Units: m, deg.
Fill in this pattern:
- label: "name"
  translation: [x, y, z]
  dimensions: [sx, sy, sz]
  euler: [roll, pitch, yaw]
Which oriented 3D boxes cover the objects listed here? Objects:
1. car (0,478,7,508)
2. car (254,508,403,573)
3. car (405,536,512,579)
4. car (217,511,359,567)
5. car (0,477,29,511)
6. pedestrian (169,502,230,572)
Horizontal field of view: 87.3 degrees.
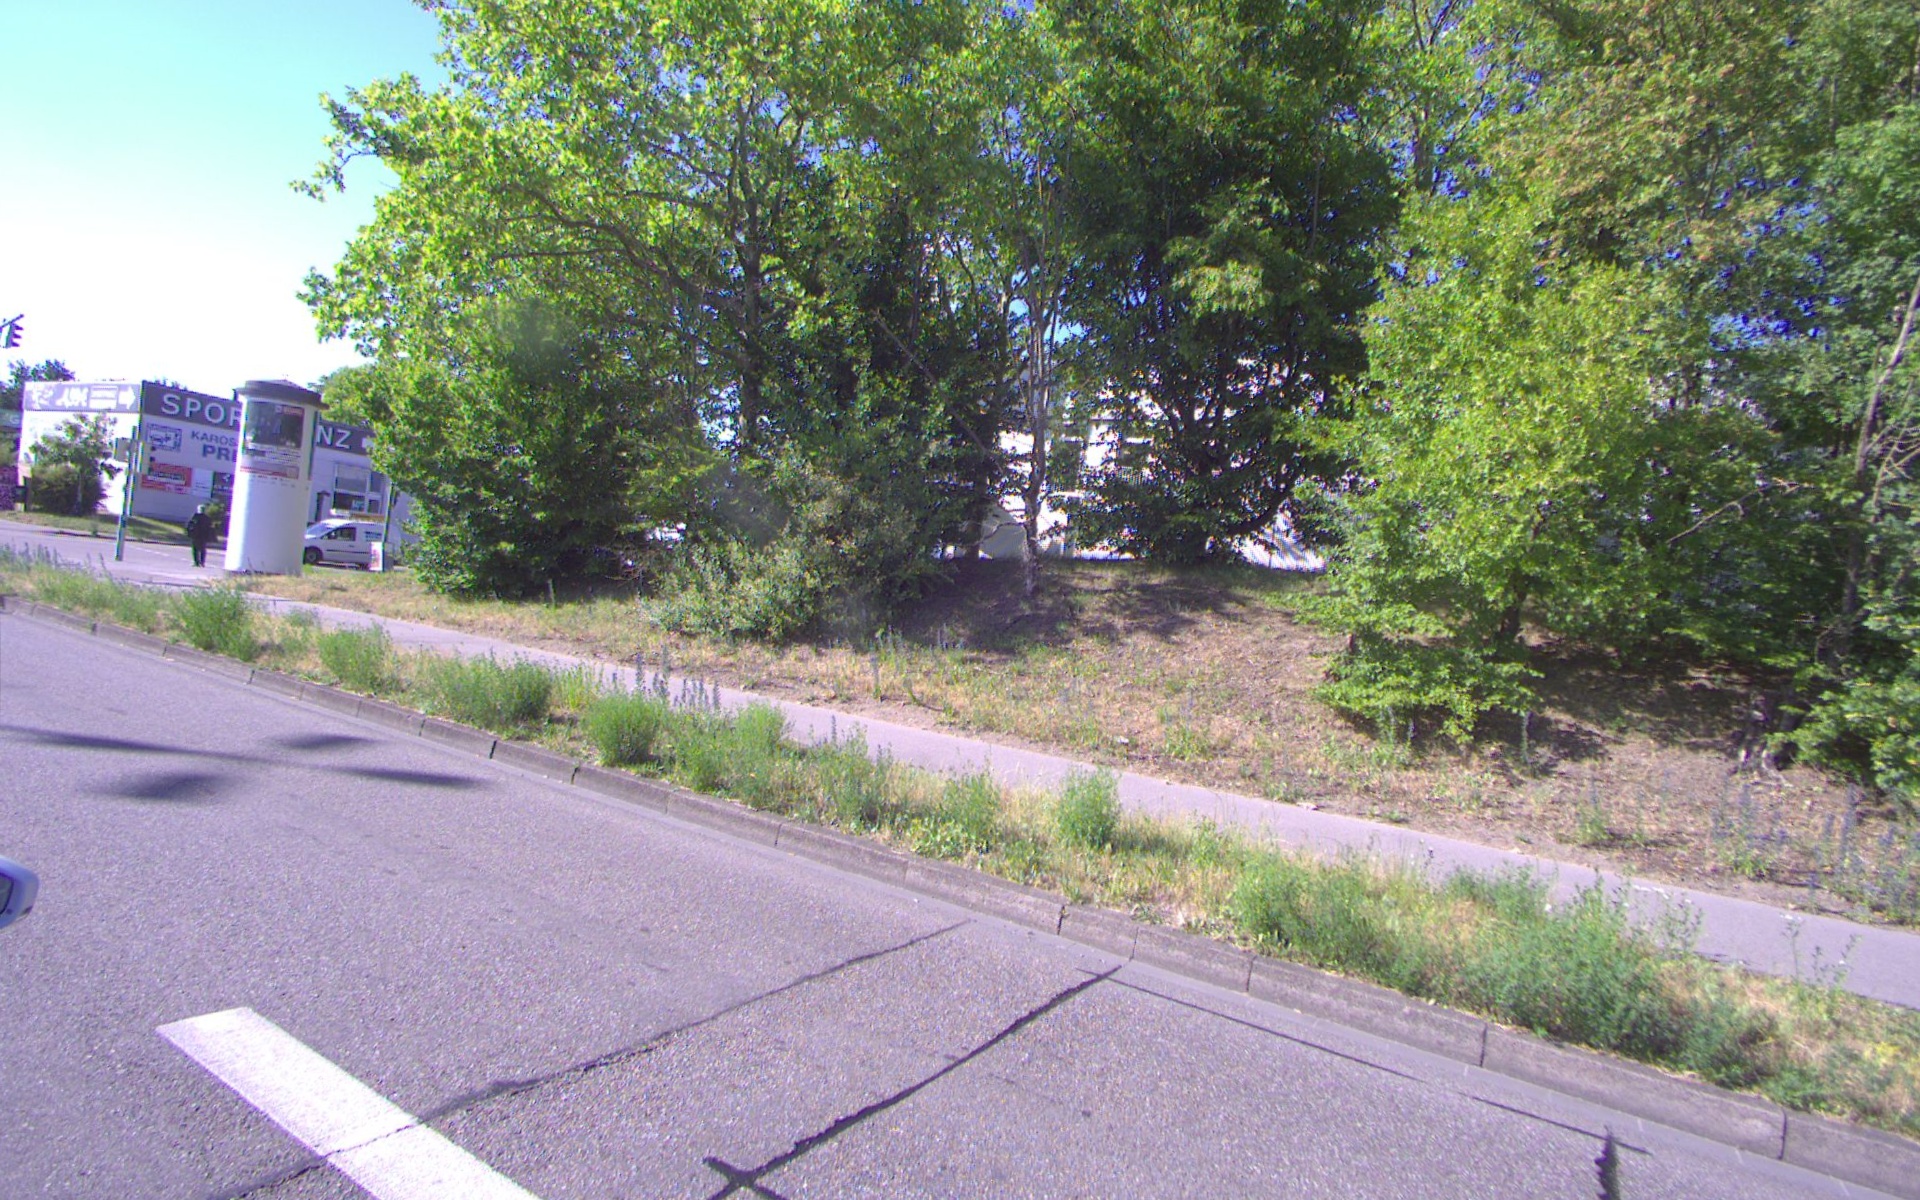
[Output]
- label: "car"
  translation: [-49.252, -5.493, 48.471]
  dimensions: [1.828, 1.472, 4.490]
  euler: [7, 1, 33]
- label: "car"
  translation: [-23.891, -2.203, 38.216]
  dimensions: [1.735, 1.824, 4.387]
  euler: [9, 1, 30]
- label: "car"
  translation: [-23.016, -1.944, 46.318]
  dimensions: [1.752, 1.509, 4.046]
  euler: [7, 1, 30]
- label: "car"
  translation: [-26.632, -2.380, 40.023]
  dimensions: [1.735, 1.568, 4.292]
  euler: [9, 1, 30]
- label: "car"
  translation: [-46.901, -5.226, 47.102]
  dimensions: [1.828, 1.472, 4.490]
  euler: [7, 1, 33]
- label: "pedestrian"
  translation: [-21.184, -1.746, 28.032]
  dimensions: [0.923, 1.755, 0.927]
  euler: [6, -1, 31]
